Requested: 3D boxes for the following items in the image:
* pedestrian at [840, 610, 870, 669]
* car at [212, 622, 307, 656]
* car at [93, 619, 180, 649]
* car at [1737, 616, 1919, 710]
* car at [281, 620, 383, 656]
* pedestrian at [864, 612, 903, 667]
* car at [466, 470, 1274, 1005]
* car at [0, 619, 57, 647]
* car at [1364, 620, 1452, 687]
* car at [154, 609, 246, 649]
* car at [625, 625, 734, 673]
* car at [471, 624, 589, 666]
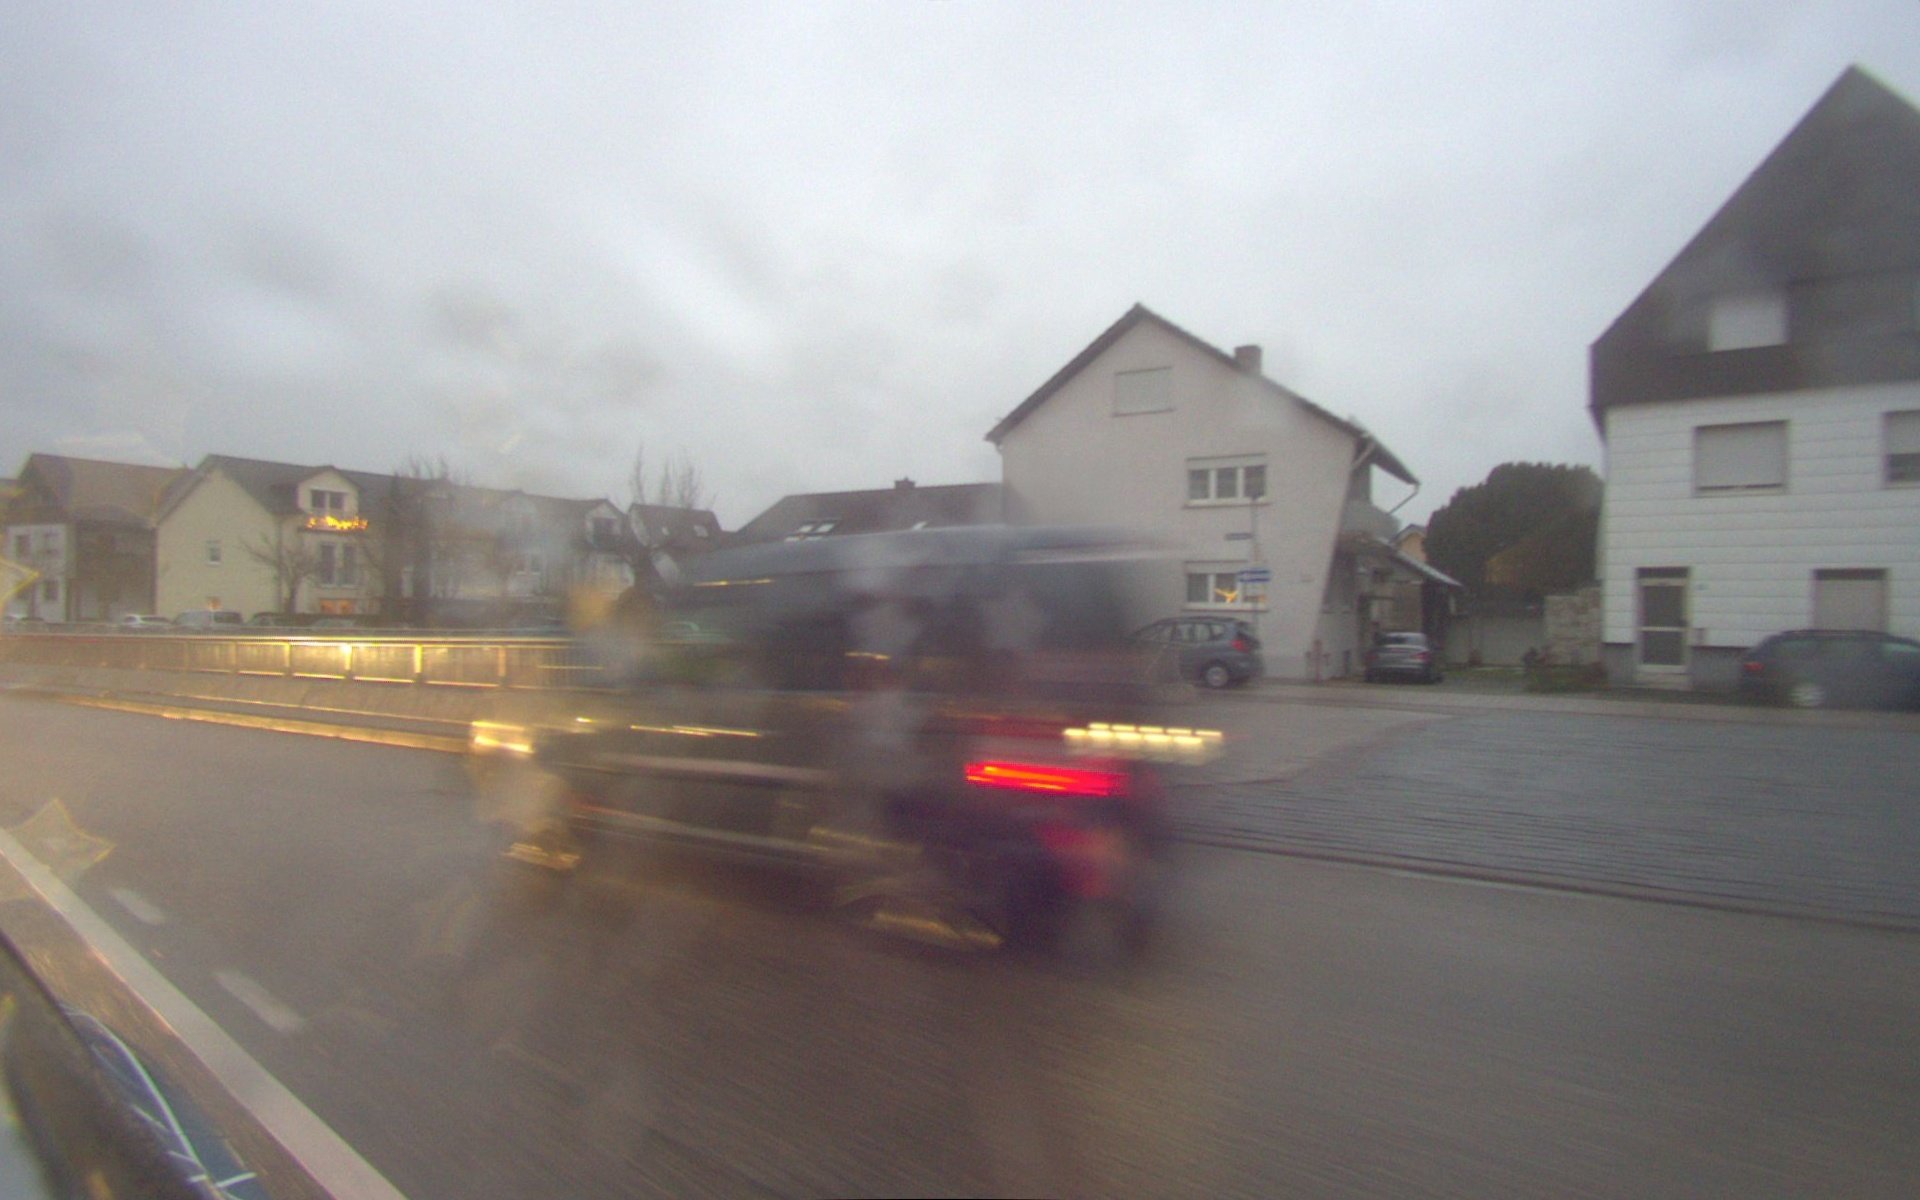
[{"bbox_3d":[-2.371,0.886,22.918,0.595,1.312,0.511,-1,-1,2],"label":"pedestrian"},{"bbox_3d":[-31.999,1.746,46.228,4.235,1.480,1.784,0,-1,27],"label":"car"},{"bbox_3d":[-41.389,1.721,50.875,3.990,1.480,1.663,-1,-3,22],"label":"car"},{"bbox_3d":[17.118,1.126,18.630,4.418,1.511,1.893,-2,2,39],"label":"car"},{"bbox_3d":[-27.116,1.628,43.671,4.235,1.480,1.784,0,-1,27],"label":"car"},{"bbox_3d":[-1.779,0.907,23.618,0.601,1.259,0.685,-1,-1,35],"label":"pedestrian"},{"bbox_3d":[-0.675,0.521,5.357,4.126,1.826,1.704,-2,-1,35],"label":"car"},{"bbox_3d":[-52.301,1.798,55.880,4.585,1.480,1.787,0,-1,22],"label":"car"},{"bbox_3d":[12.638,1.513,28.407,1.712,1.695,3.956,1,-3,32],"label":"car"},{"bbox_3d":[-36.370,1.372,48.411,4.234,1.841,1.784,0,-1,26],"label":"car"},{"bbox_3d":[-9.345,1.585,33.702,3.489,1.520,1.464,-1,-2,30],"label":"car"},{"bbox_3d":[-16.158,1.653,37.992,4.235,1.480,1.784,0,-1,27],"label":"car"}]
